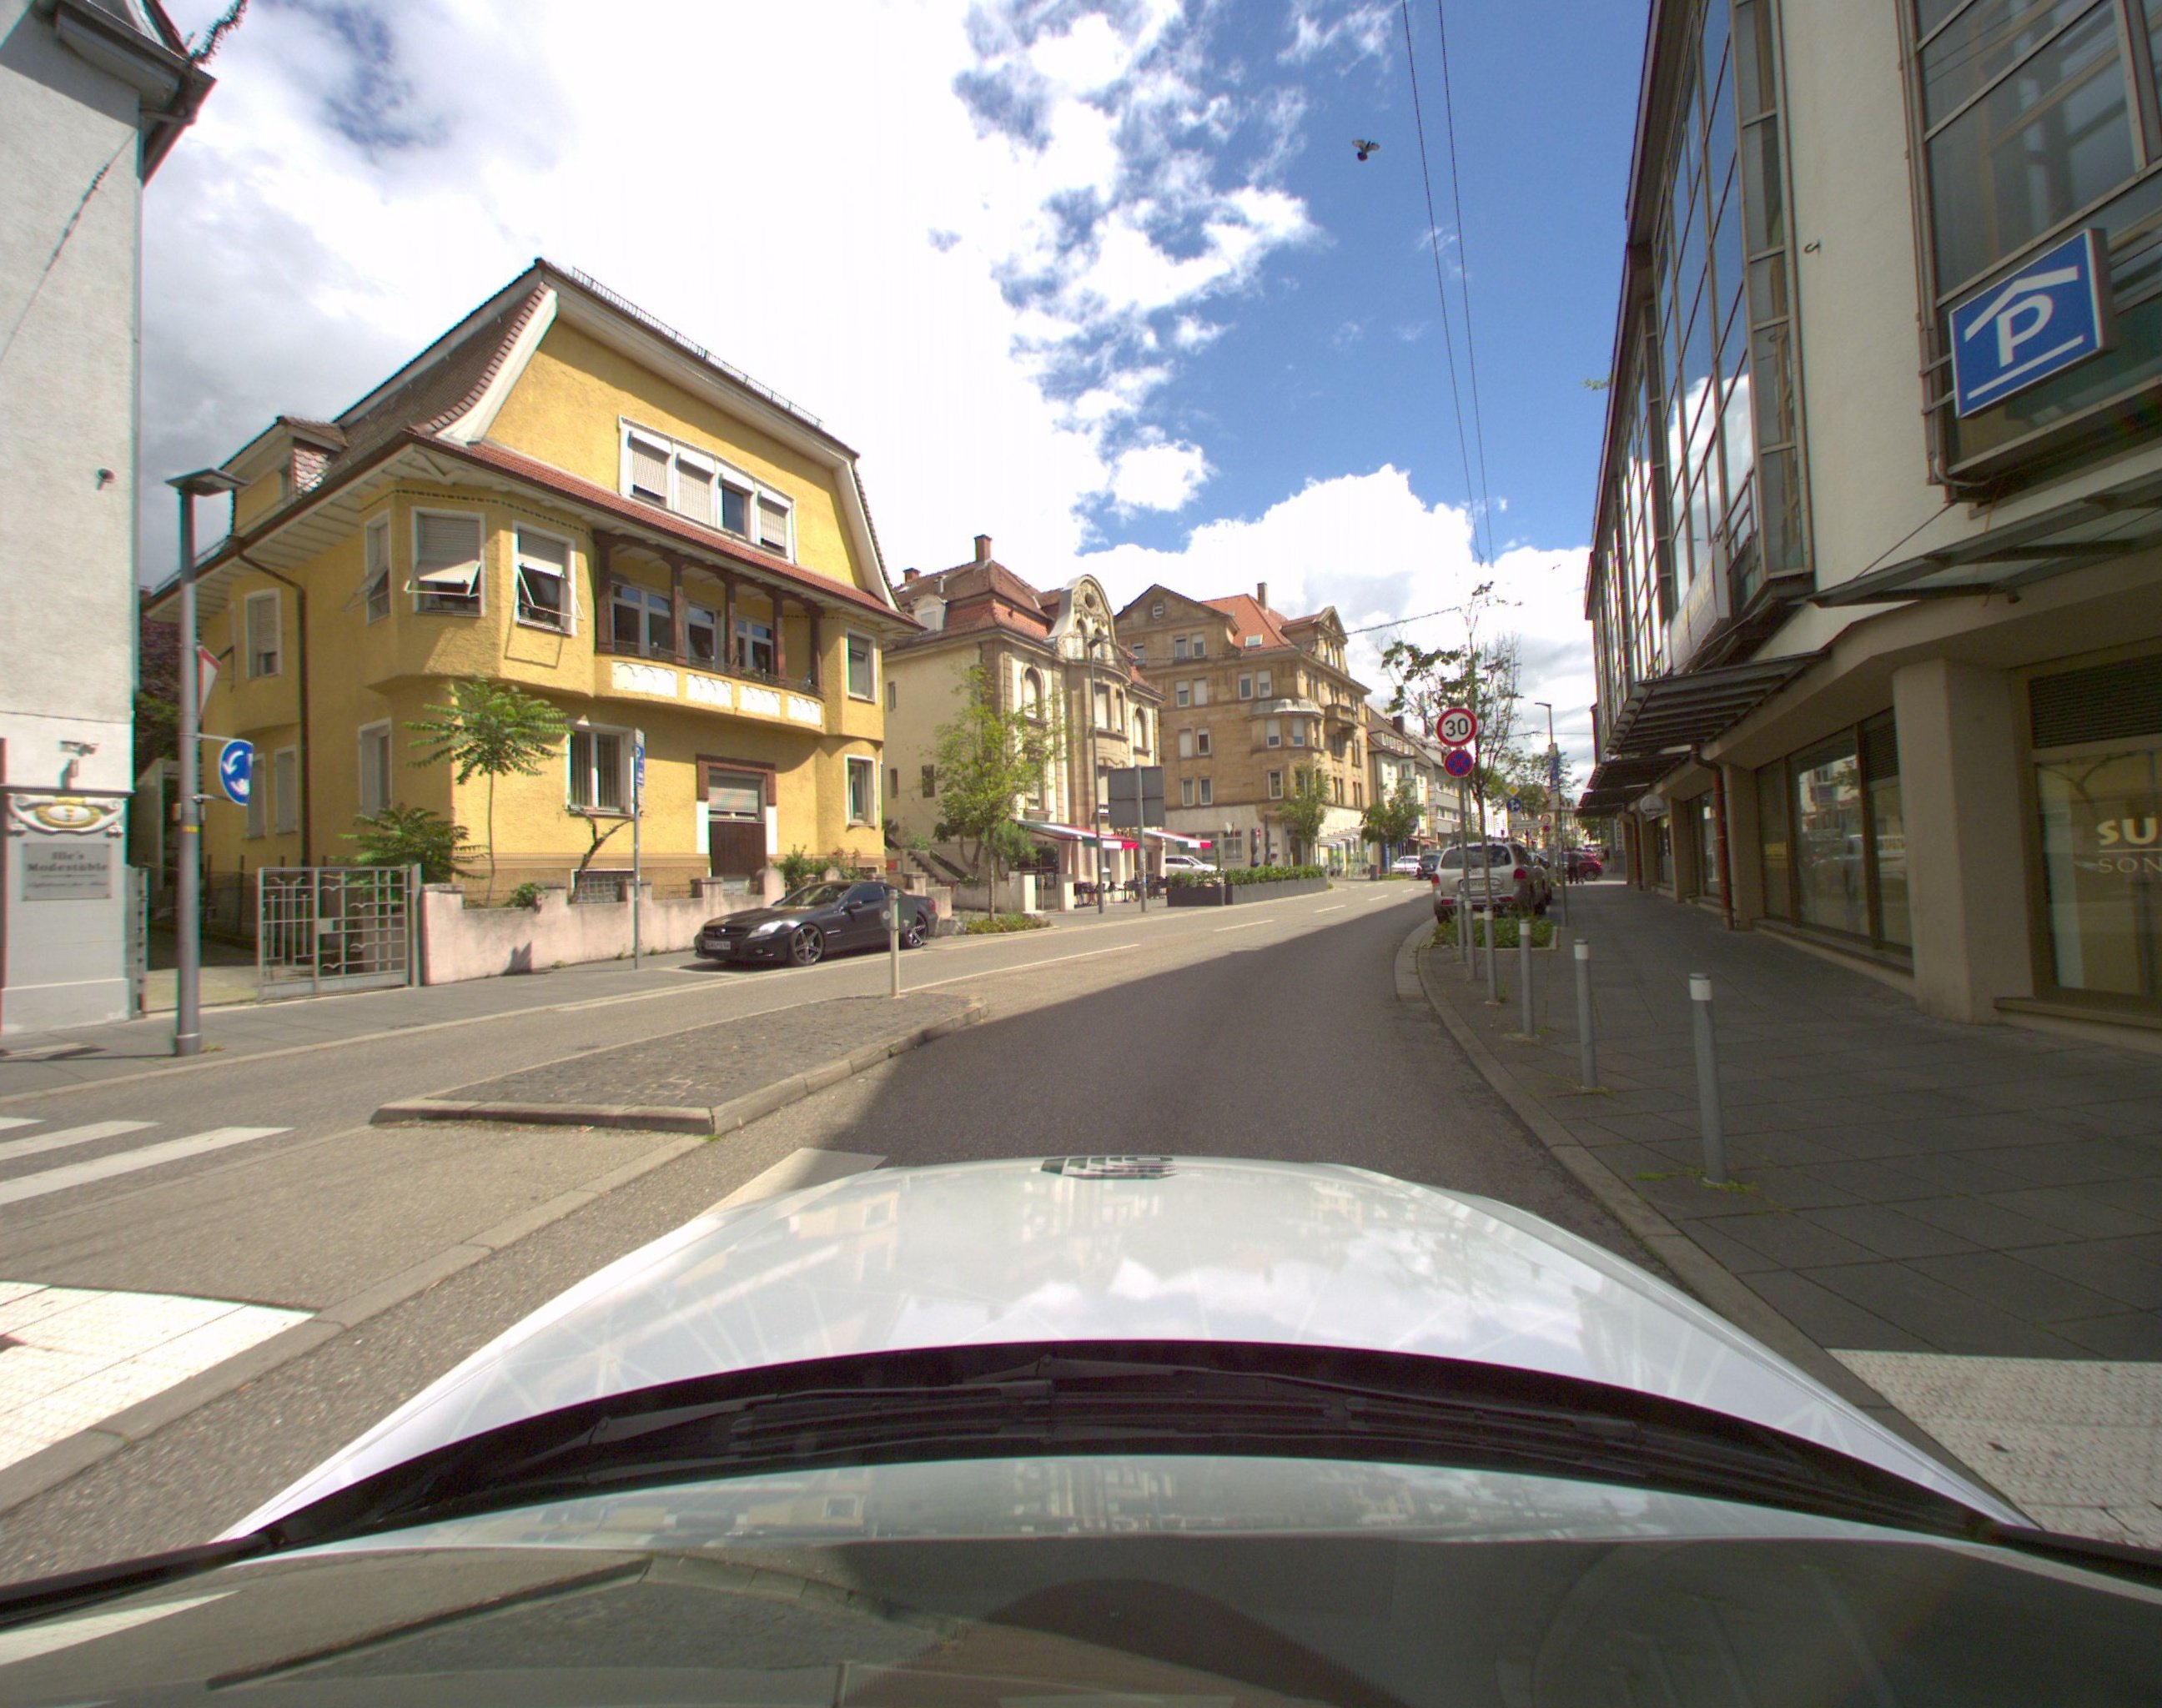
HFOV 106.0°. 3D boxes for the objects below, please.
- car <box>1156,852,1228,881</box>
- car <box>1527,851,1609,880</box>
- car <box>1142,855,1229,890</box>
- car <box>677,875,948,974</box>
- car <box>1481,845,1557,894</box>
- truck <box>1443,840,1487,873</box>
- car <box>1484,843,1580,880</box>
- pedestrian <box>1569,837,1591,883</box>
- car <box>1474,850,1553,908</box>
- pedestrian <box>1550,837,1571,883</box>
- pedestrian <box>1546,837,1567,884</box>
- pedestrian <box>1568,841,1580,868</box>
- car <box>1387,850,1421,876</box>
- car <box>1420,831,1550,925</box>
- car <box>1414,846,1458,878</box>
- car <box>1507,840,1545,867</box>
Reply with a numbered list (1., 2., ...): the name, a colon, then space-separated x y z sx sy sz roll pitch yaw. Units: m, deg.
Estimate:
1. car: 6.834 0.772 50.360 3.950 1.662 1.920 -2 -1 26
2. car: 25.157 0.600 42.153 3.586 1.413 1.599 -1 -1 31
3. car: 5.737 0.992 44.443 4.385 1.776 2.008 -2 -1 15
4. car: -4.358 1.063 13.995 1.693 1.245 4.438 0 1 29
5. car: 15.462 0.521 28.652 1.806 1.519 4.260 -4 -2 34
6. truck: 27.417 0.126 57.994 2.045 2.165 5.328 -3 -1 33
7. car: 22.149 0.383 40.060 3.948 1.708 1.685 -1 -1 34
8. pedestrian: 22.099 0.279 36.087 0.682 2.014 0.728 -2 -1 27
9. car: 12.093 0.644 22.643 1.605 1.434 4.266 -3 -1 31
10. pedestrian: 21.338 0.286 36.263 0.682 2.014 0.728 -2 -1 27
11. pedestrian: 20.696 0.290 35.436 0.682 2.014 0.728 -2 -1 27
12. pedestrian: 38.331 0.036 63.348 0.675 2.014 0.602 -2 -1 35
13. car: 22.435 0.599 56.498 1.693 1.712 4.024 -2 0 27
14. car: 8.762 0.481 17.467 1.806 1.731 4.260 -4 -2 34
15. car: 22.203 0.486 50.864 1.817 1.835 4.599 -4 -2 32
16. car: 33.311 -0.073 60.895 1.952 1.875 5.070 -3 -1 34
